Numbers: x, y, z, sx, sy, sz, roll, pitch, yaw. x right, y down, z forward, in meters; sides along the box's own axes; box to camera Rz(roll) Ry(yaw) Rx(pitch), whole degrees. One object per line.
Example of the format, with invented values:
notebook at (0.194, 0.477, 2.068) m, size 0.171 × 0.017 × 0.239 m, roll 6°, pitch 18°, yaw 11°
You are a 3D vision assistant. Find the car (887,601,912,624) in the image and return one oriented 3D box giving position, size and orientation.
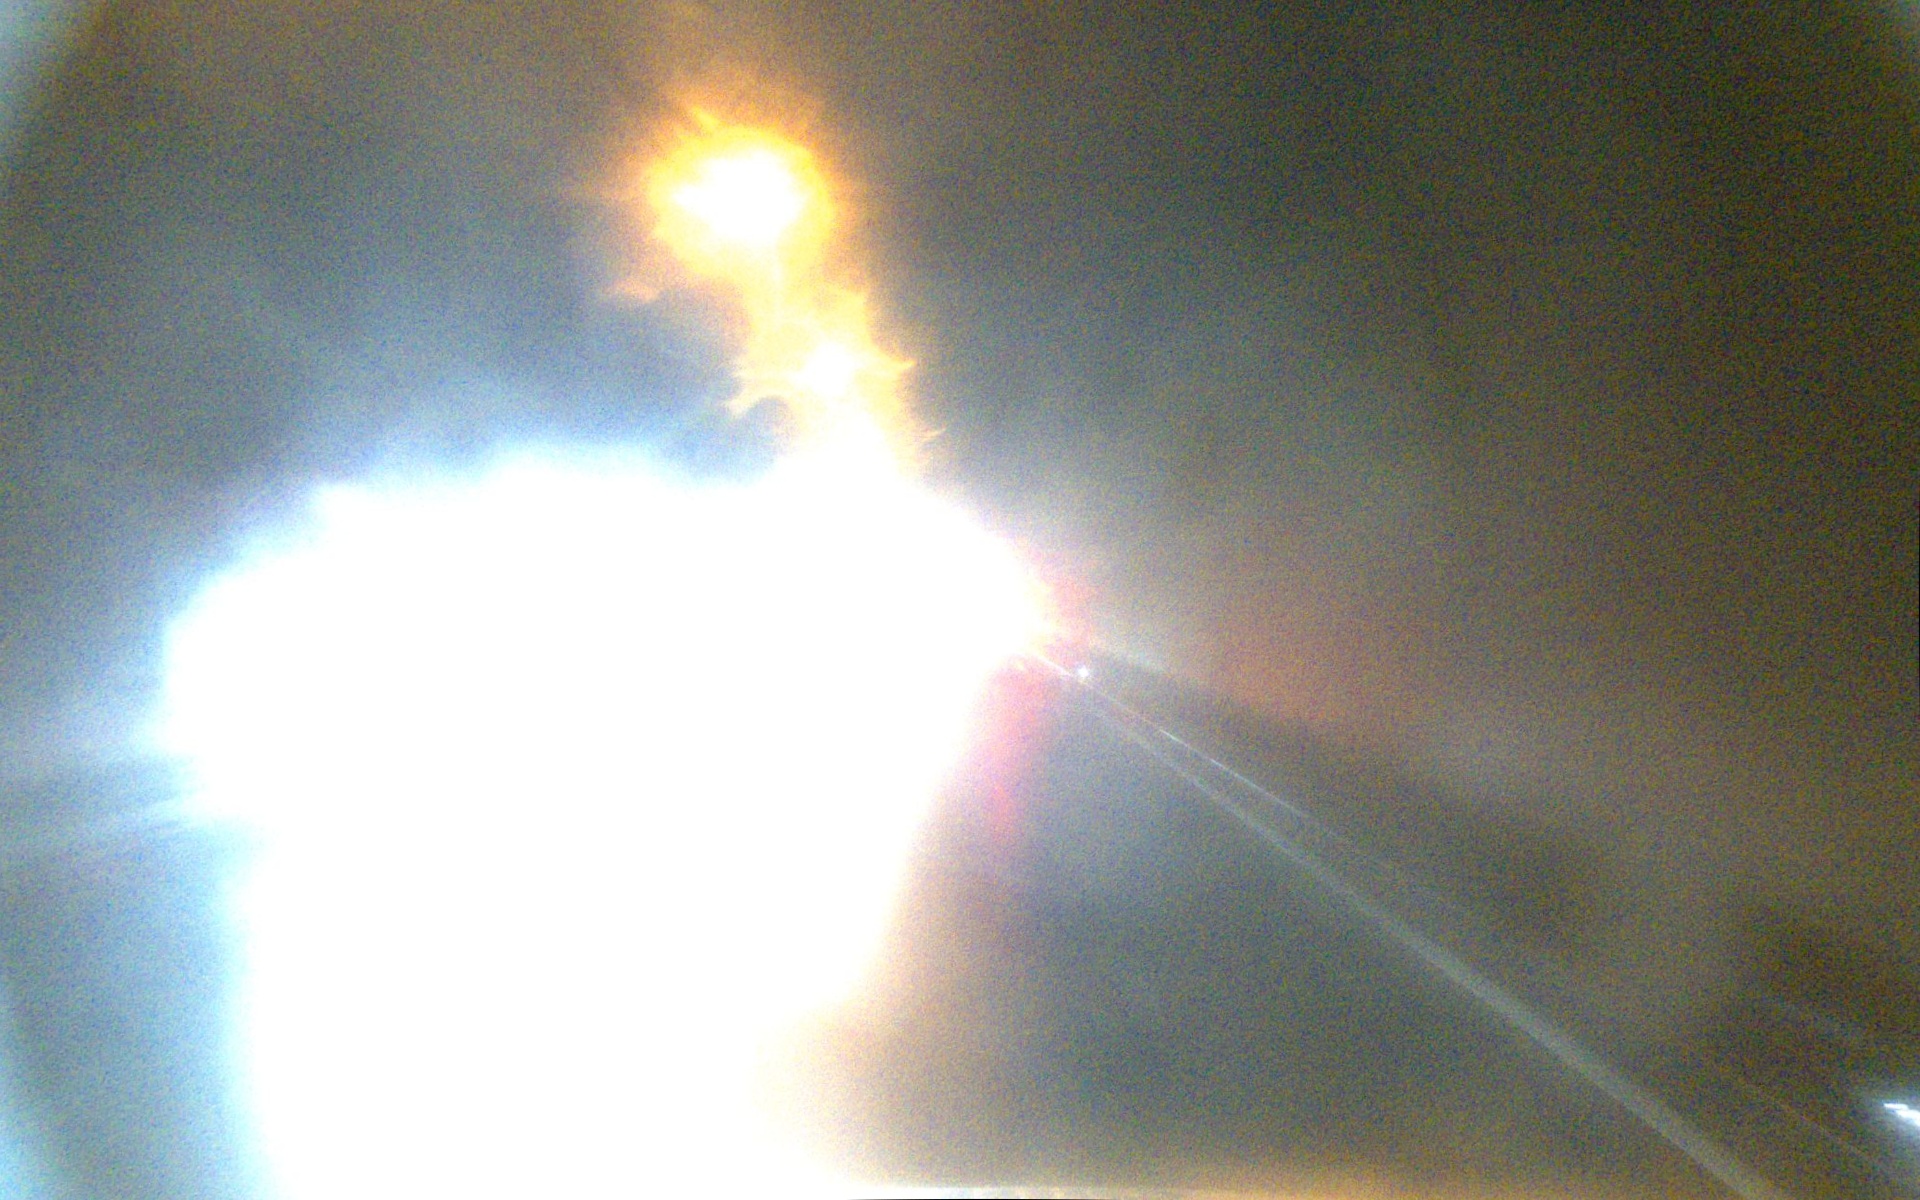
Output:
car at (-4.211, 0.857, 114.804) m, size 1.602 × 1.561 × 3.645 m, roll -1°, pitch 1°, yaw 0°

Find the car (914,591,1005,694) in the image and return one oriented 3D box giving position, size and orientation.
car at (-0.023, 0.738, 31.445) m, size 1.602 × 1.788 × 4.145 m, roll -1°, pitch 1°, yaw 0°

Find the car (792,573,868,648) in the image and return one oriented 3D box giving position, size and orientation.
car at (-3.544, 0.256, 45.680) m, size 1.725 × 1.933 × 4.608 m, roll -1°, pitch 1°, yaw 0°

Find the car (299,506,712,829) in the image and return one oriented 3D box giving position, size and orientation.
car at (-3.097, 0.385, 12.331) m, size 1.803 × 1.933 × 4.608 m, roll -1°, pitch 1°, yaw 0°
